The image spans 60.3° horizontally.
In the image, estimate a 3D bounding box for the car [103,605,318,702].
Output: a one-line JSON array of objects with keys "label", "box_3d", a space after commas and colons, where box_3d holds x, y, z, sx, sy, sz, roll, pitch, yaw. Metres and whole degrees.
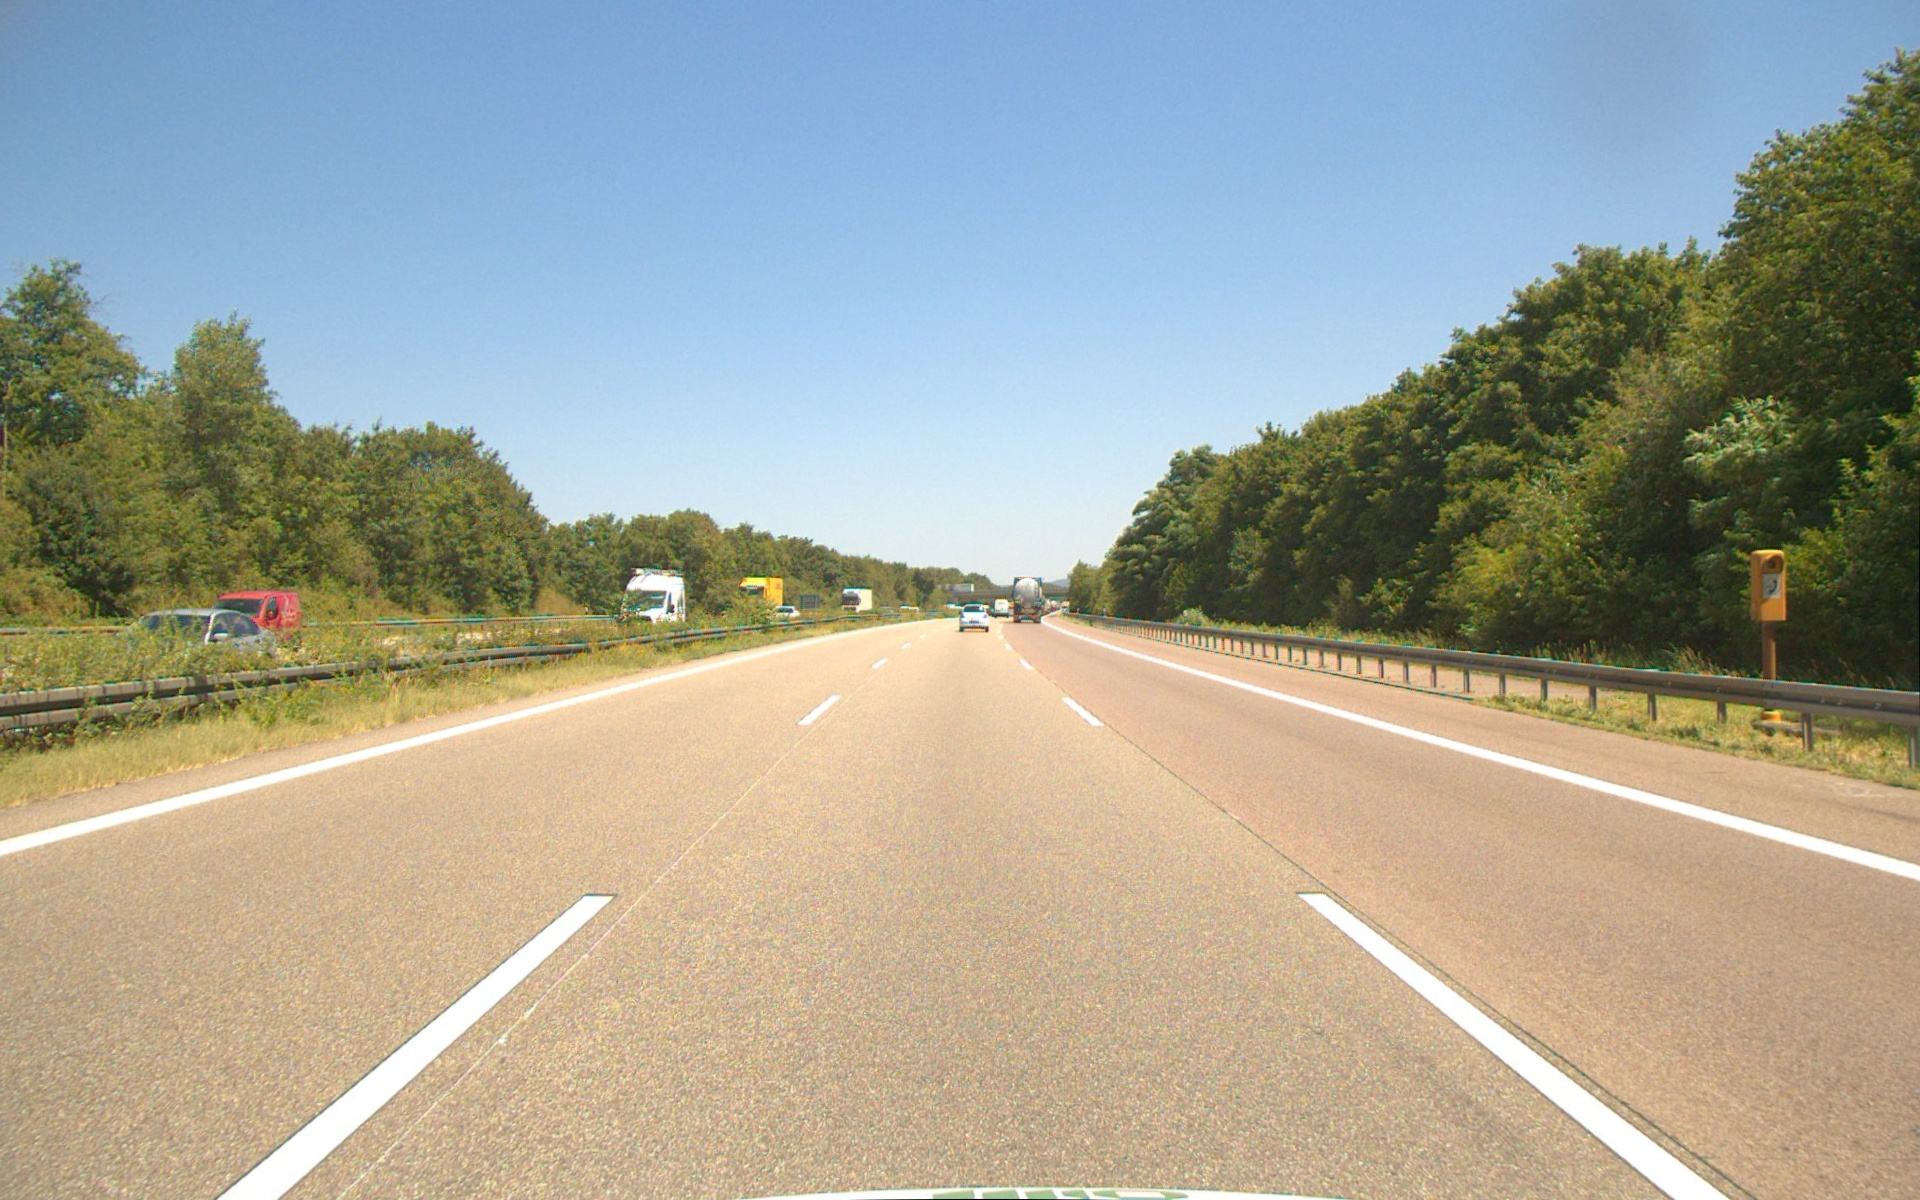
[{"label": "car", "box_3d": [-12.792, 0.856, 28.555, 1.727, 1.540, 4.392, 0, 0, 0]}]

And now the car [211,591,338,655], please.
[{"label": "car", "box_3d": [-20.216, 0.658, 49.000, 1.669, 1.807, 4.768, 0, 0, 1]}]

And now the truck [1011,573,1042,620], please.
[{"label": "truck", "box_3d": [6.079, -0.238, 150.586, 2.682, 4.123, 10.457, 0, 0, 2]}]

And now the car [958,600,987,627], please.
[{"label": "car", "box_3d": [0.724, 0.760, 94.262, 1.594, 1.505, 4.001, 0, 0, 2]}]

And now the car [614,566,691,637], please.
[{"label": "car", "box_3d": [-12.718, 0.077, 68.711, 2.045, 2.827, 5.828, 0, 0, 0]}]

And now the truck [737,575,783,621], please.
[{"label": "truck", "box_3d": [-18.332, -0.111, 152.189, 2.693, 4.111, 10.793, 0, -1, 1]}]

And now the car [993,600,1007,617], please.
[{"label": "car", "box_3d": [5.659, 1.129, 232.708, 1.952, 2.384, 4.387, 0, 0, 1]}]
